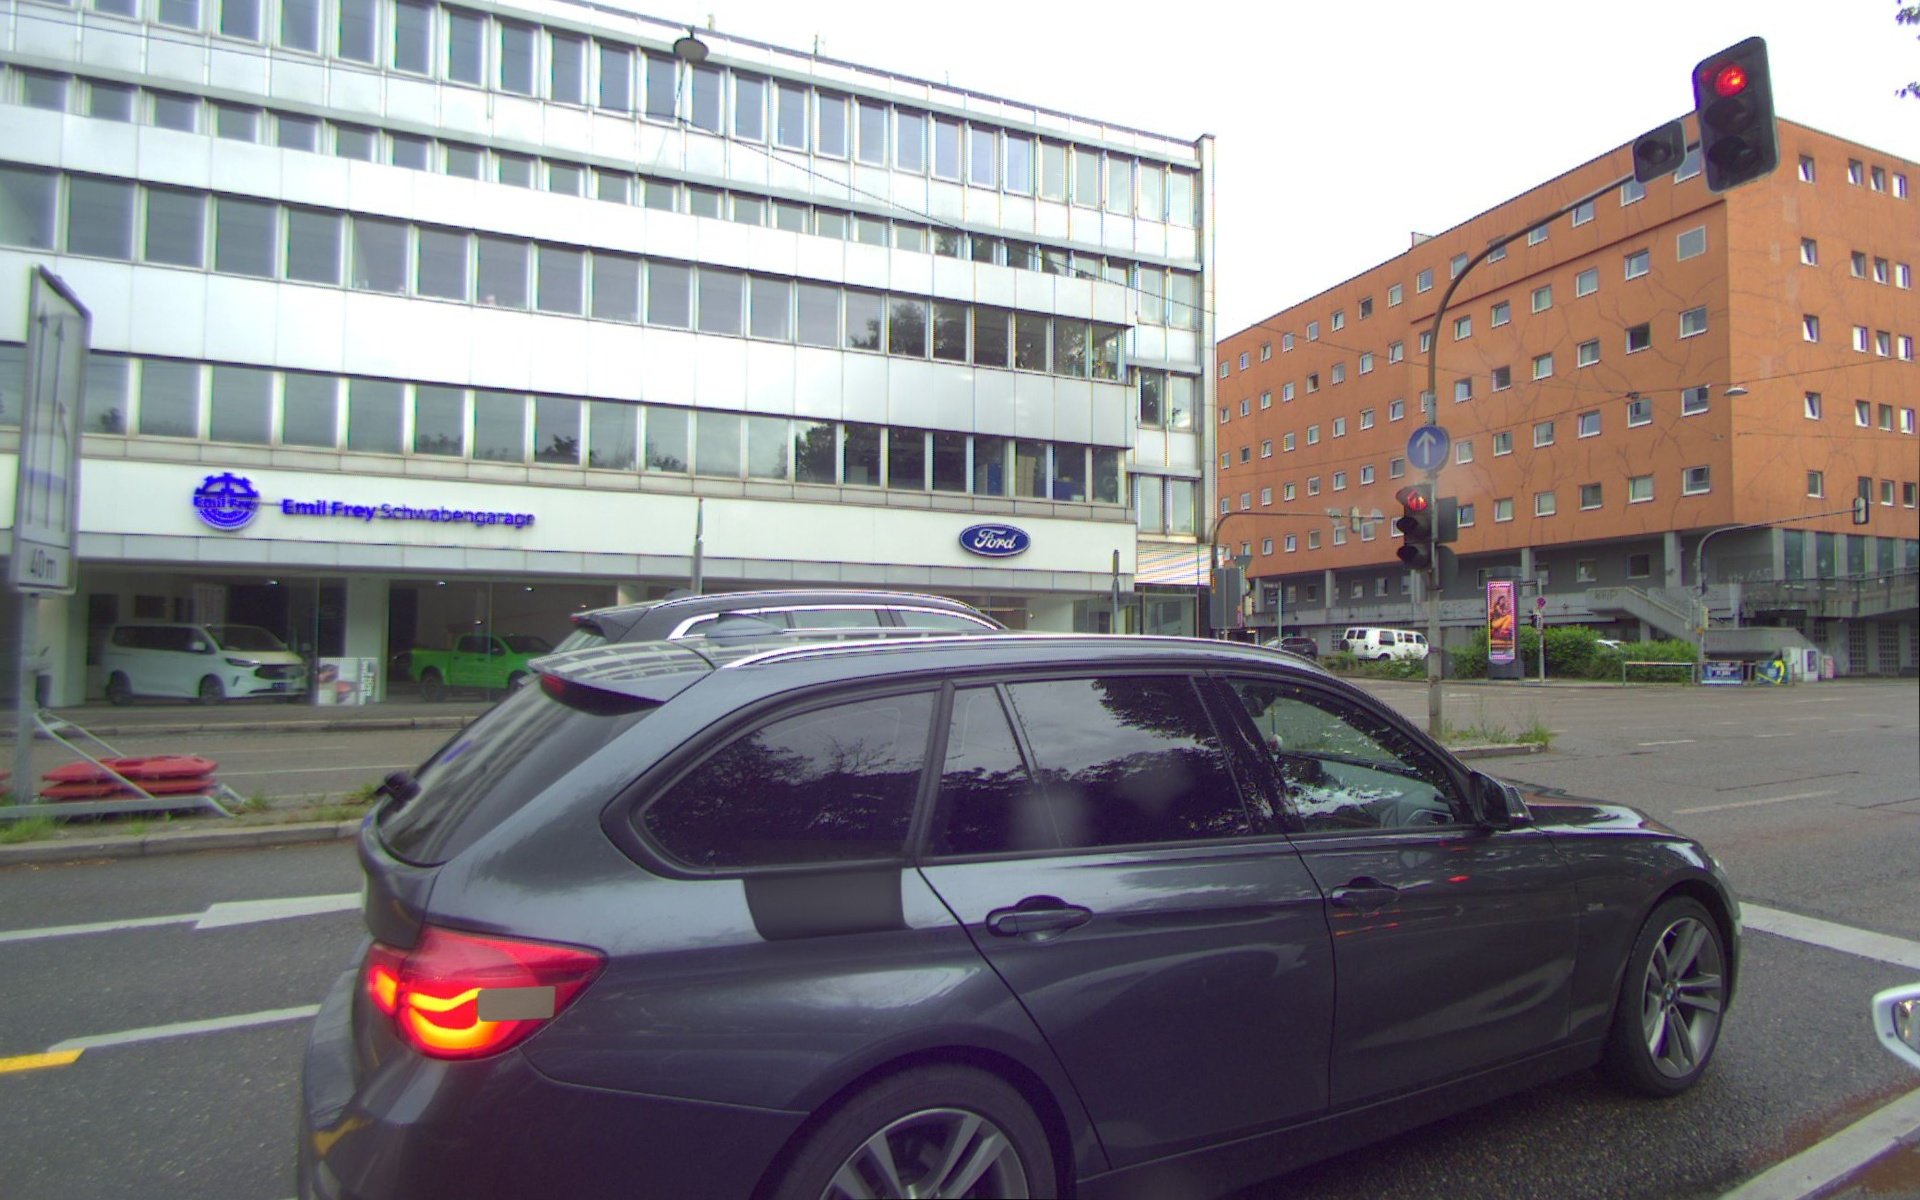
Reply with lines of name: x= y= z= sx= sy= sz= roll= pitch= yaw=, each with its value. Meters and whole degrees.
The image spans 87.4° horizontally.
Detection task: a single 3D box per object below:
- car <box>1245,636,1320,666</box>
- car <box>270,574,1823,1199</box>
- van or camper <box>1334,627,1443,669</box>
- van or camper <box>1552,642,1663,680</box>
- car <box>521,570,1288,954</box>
car: x=18.972 y=2.993 z=59.021 sx=4.027 sy=1.633 sz=1.706 roll=2 pitch=0 yaw=-23
car: x=0.620 y=0.796 z=3.152 sx=4.424 sy=1.477 sz=1.769 roll=2 pitch=-3 yaw=-30
van or camper: x=22.350 y=2.518 z=52.383 sx=5.376 sy=2.004 sz=2.121 roll=2 pitch=0 yaw=-23
van or camper: x=29.952 y=2.772 z=46.595 sx=1.887 sy=1.648 sz=3.978 roll=1 pitch=-2 yaw=-23
car: x=-0.257 y=0.765 z=6.233 sx=4.389 sy=1.678 sz=1.802 roll=2 pitch=0 yaw=-28
